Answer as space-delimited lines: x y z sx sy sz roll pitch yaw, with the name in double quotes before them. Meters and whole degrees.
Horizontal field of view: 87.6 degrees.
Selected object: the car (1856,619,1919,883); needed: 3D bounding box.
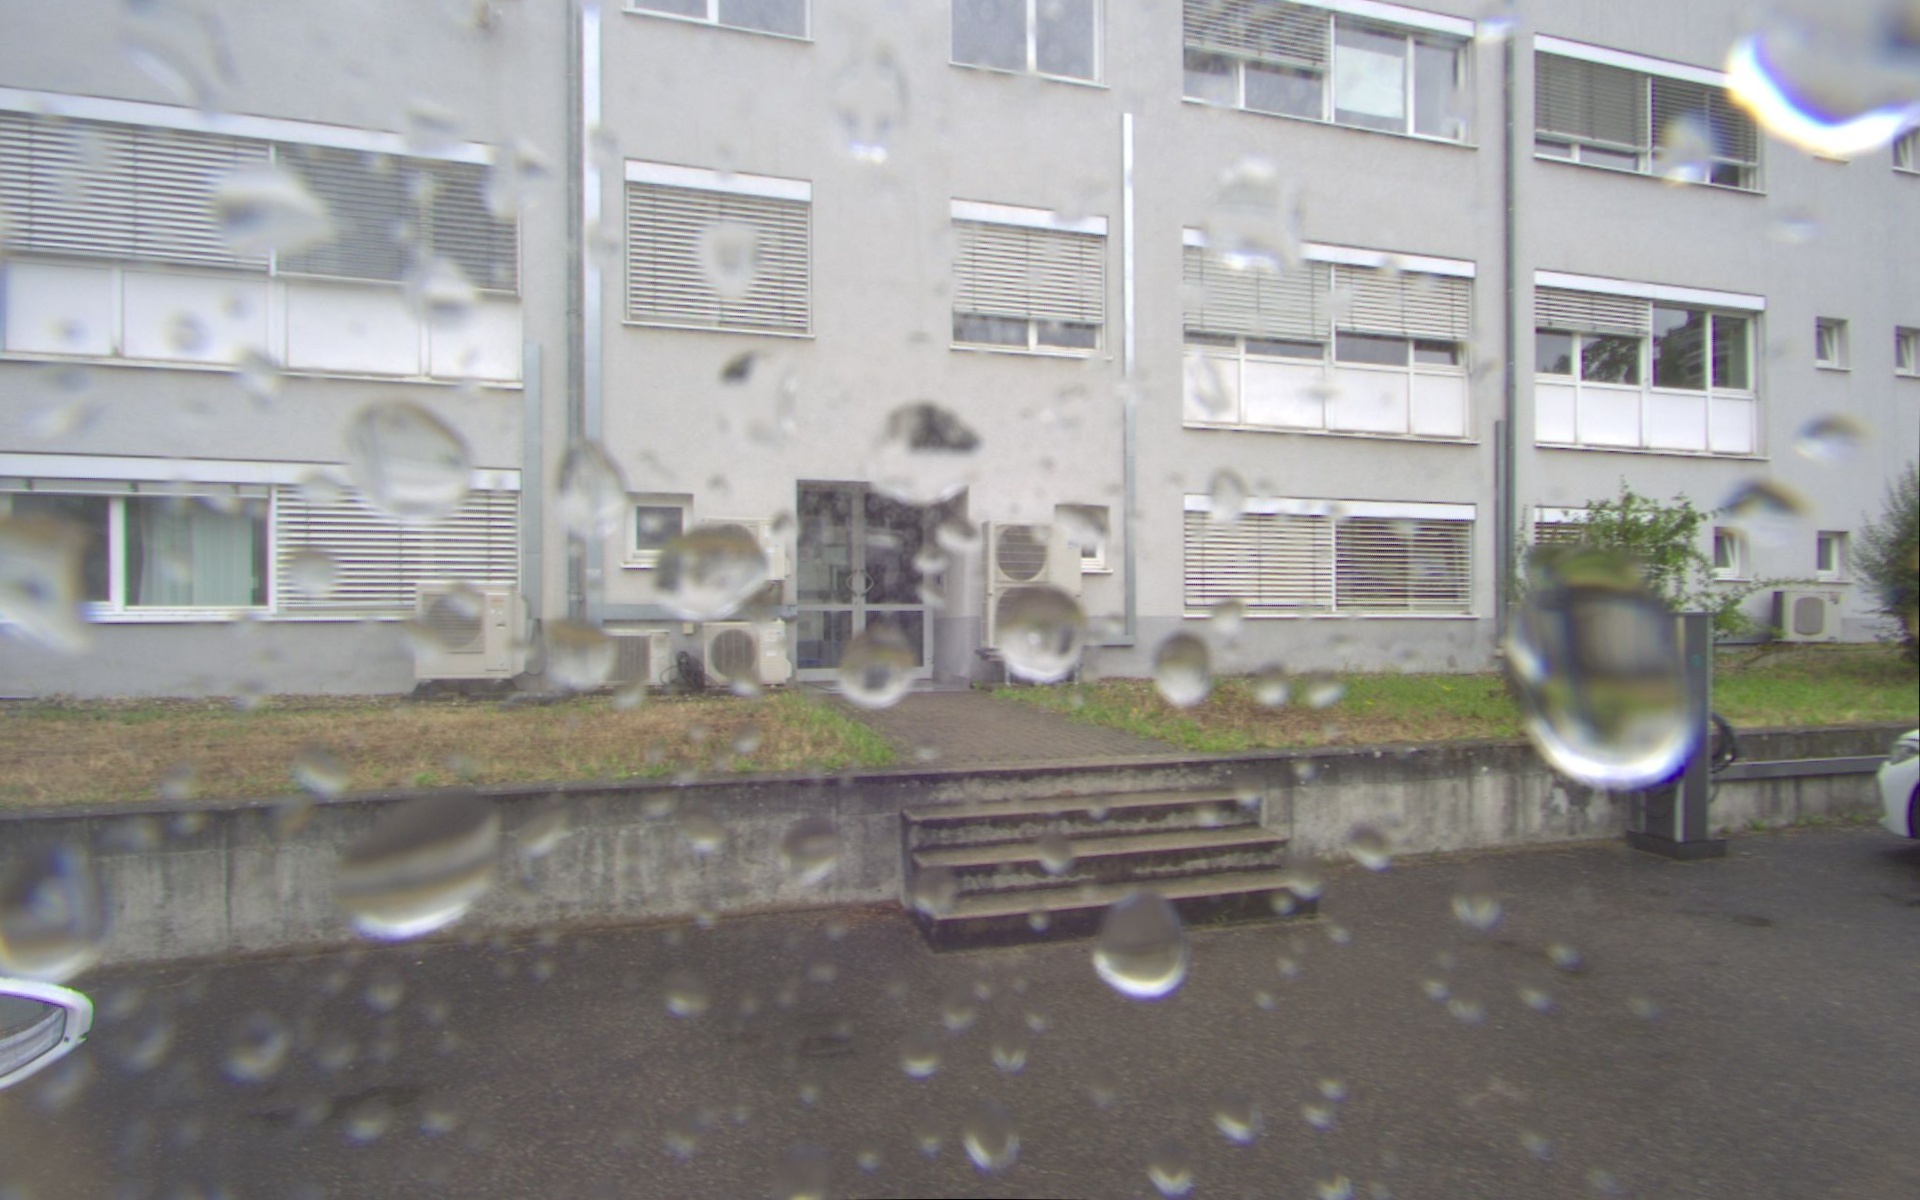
"car" 6.840 0.829 4.223 1.963 1.508 4.217 1 -2 -13
